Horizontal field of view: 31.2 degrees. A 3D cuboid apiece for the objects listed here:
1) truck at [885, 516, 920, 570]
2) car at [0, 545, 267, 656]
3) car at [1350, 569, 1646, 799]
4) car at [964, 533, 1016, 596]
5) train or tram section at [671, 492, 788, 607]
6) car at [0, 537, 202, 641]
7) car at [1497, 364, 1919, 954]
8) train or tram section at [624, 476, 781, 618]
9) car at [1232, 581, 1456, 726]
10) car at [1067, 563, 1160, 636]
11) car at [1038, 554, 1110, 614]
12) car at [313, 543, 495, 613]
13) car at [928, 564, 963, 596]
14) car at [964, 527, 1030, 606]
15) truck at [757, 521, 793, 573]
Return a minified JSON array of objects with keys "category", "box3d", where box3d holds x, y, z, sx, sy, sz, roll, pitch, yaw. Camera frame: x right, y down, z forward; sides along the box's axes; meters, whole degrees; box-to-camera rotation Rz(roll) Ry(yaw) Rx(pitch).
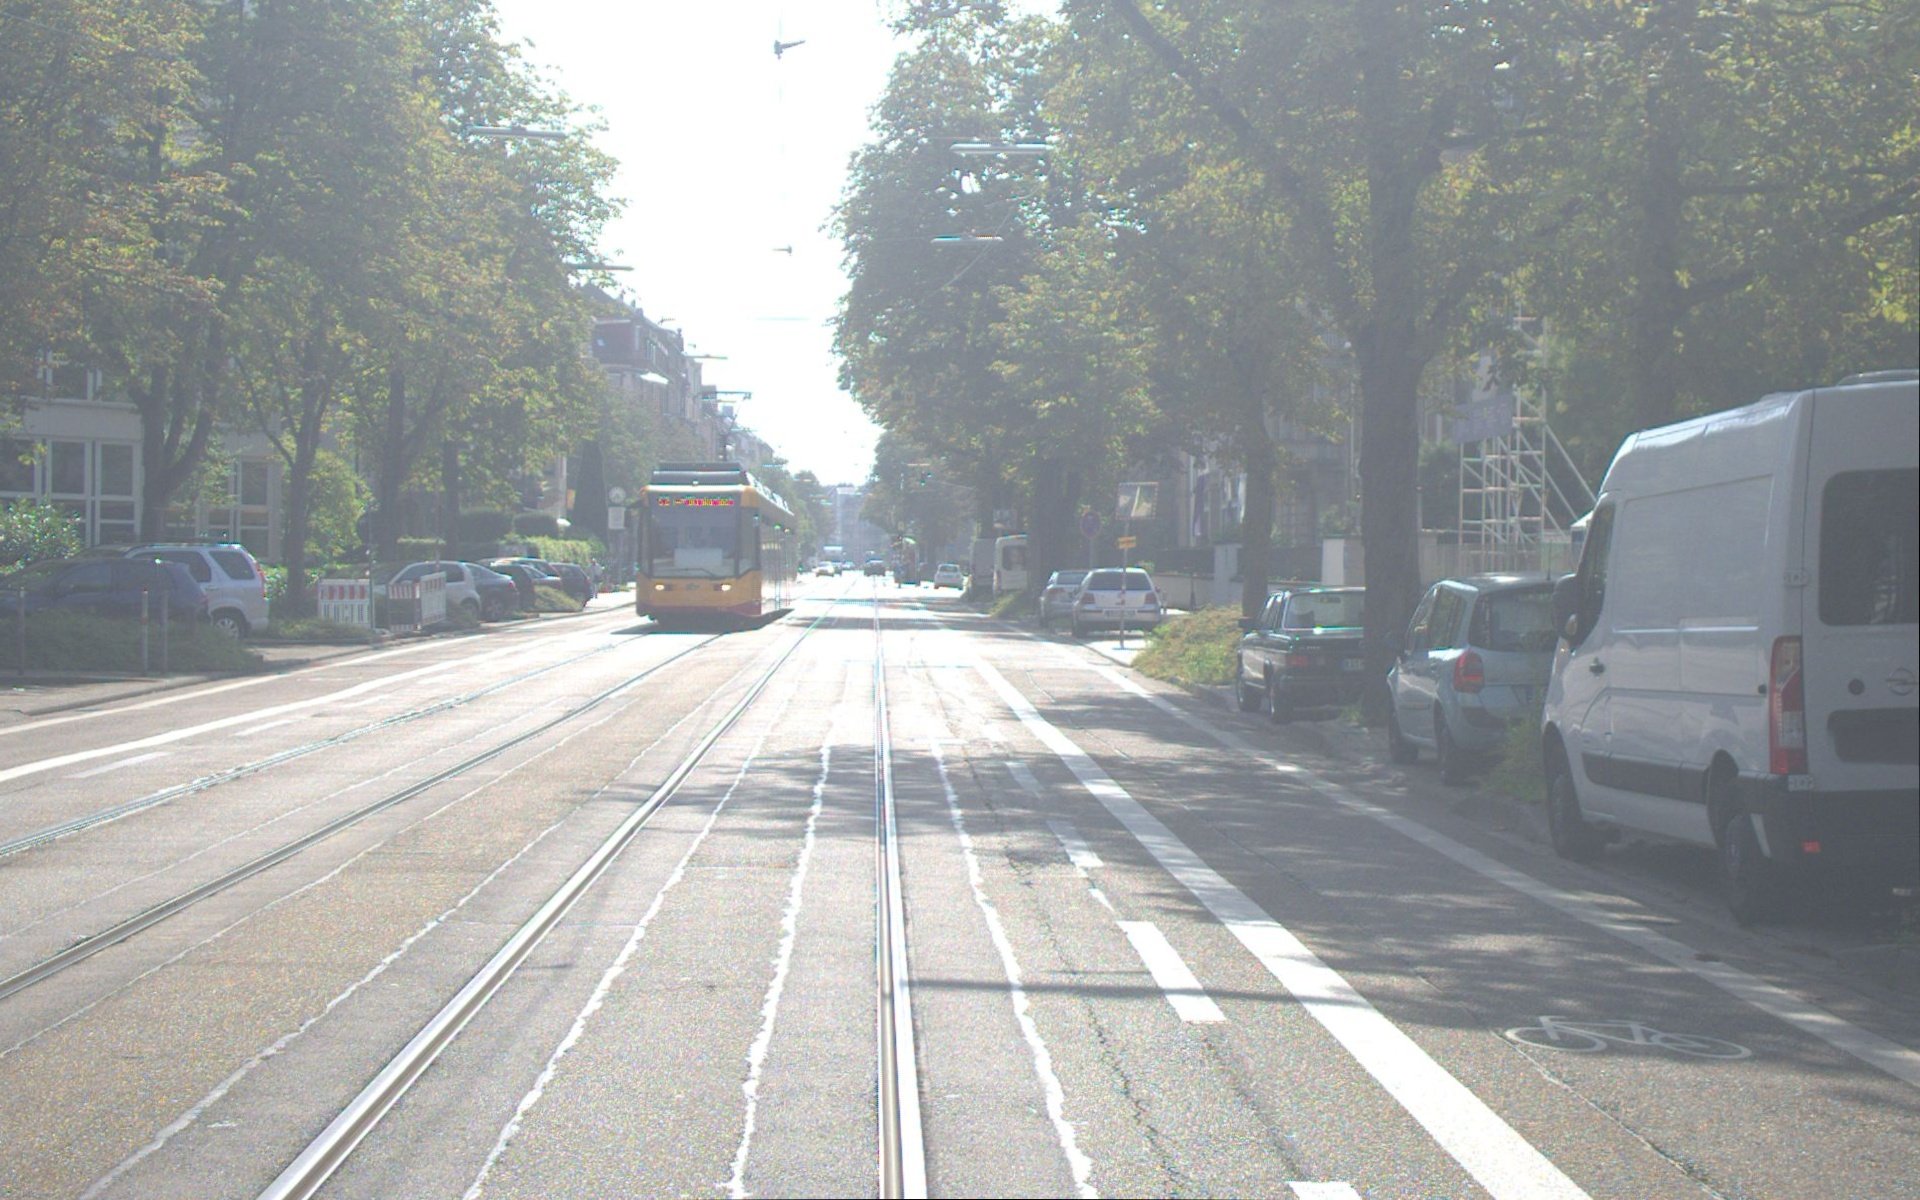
[{"category":"truck","box3d":[-3.368,-3.325,200.672,1.860,3.120,4.353,1,1,-3]},{"category":"car","box3d":[-12.653,-0.009,52.382,1.743,1.616,3.786,1,1,44]},{"category":"car","box3d":[4.162,0.598,27.119,1.664,1.611,3.877,-1,1,-1]},{"category":"car","box3d":[1.207,-1.447,138.928,2.004,2.466,4.477,1,1,0]},{"category":"train or tram section","box3d":[-5.903,-1.298,88.832,2.728,2.840,6.544,0,1,-1]},{"category":"car","box3d":[-12.893,-0.166,48.895,3.785,1.437,1.693,0,1,-43]},{"category":"car","box3d":[4.430,0.187,17.789,2.082,2.544,5.502,-3,1,-3]},{"category":"train or tram section","box3d":[-5.652,-1.165,77.823,2.729,2.884,15.456,0,1,-1]},{"category":"car","box3d":[4.023,0.521,36.725,1.753,1.373,4.719,-1,1,-1]},{"category":"car","box3d":[3.122,-0.026,70.303,1.689,1.413,3.634,1,1,0]},{"category":"car","box3d":[2.768,-0.395,83.960,1.595,1.413,3.634,1,1,0]},{"category":"car","box3d":[-11.906,-0.473,73.748,1.569,1.438,3.755,1,1,39]},{"category":"car","box3d":[-0.835,-1.184,199.614,1.993,1.831,4.000,1,1,0]},{"category":"car","box3d":[1.193,-1.093,111.920,2.004,2.482,4.477,1,1,0]},{"category":"truck","box3d":[-10.796,-3.093,200.638,1.993,2.965,4.571,0,1,-2]}]
